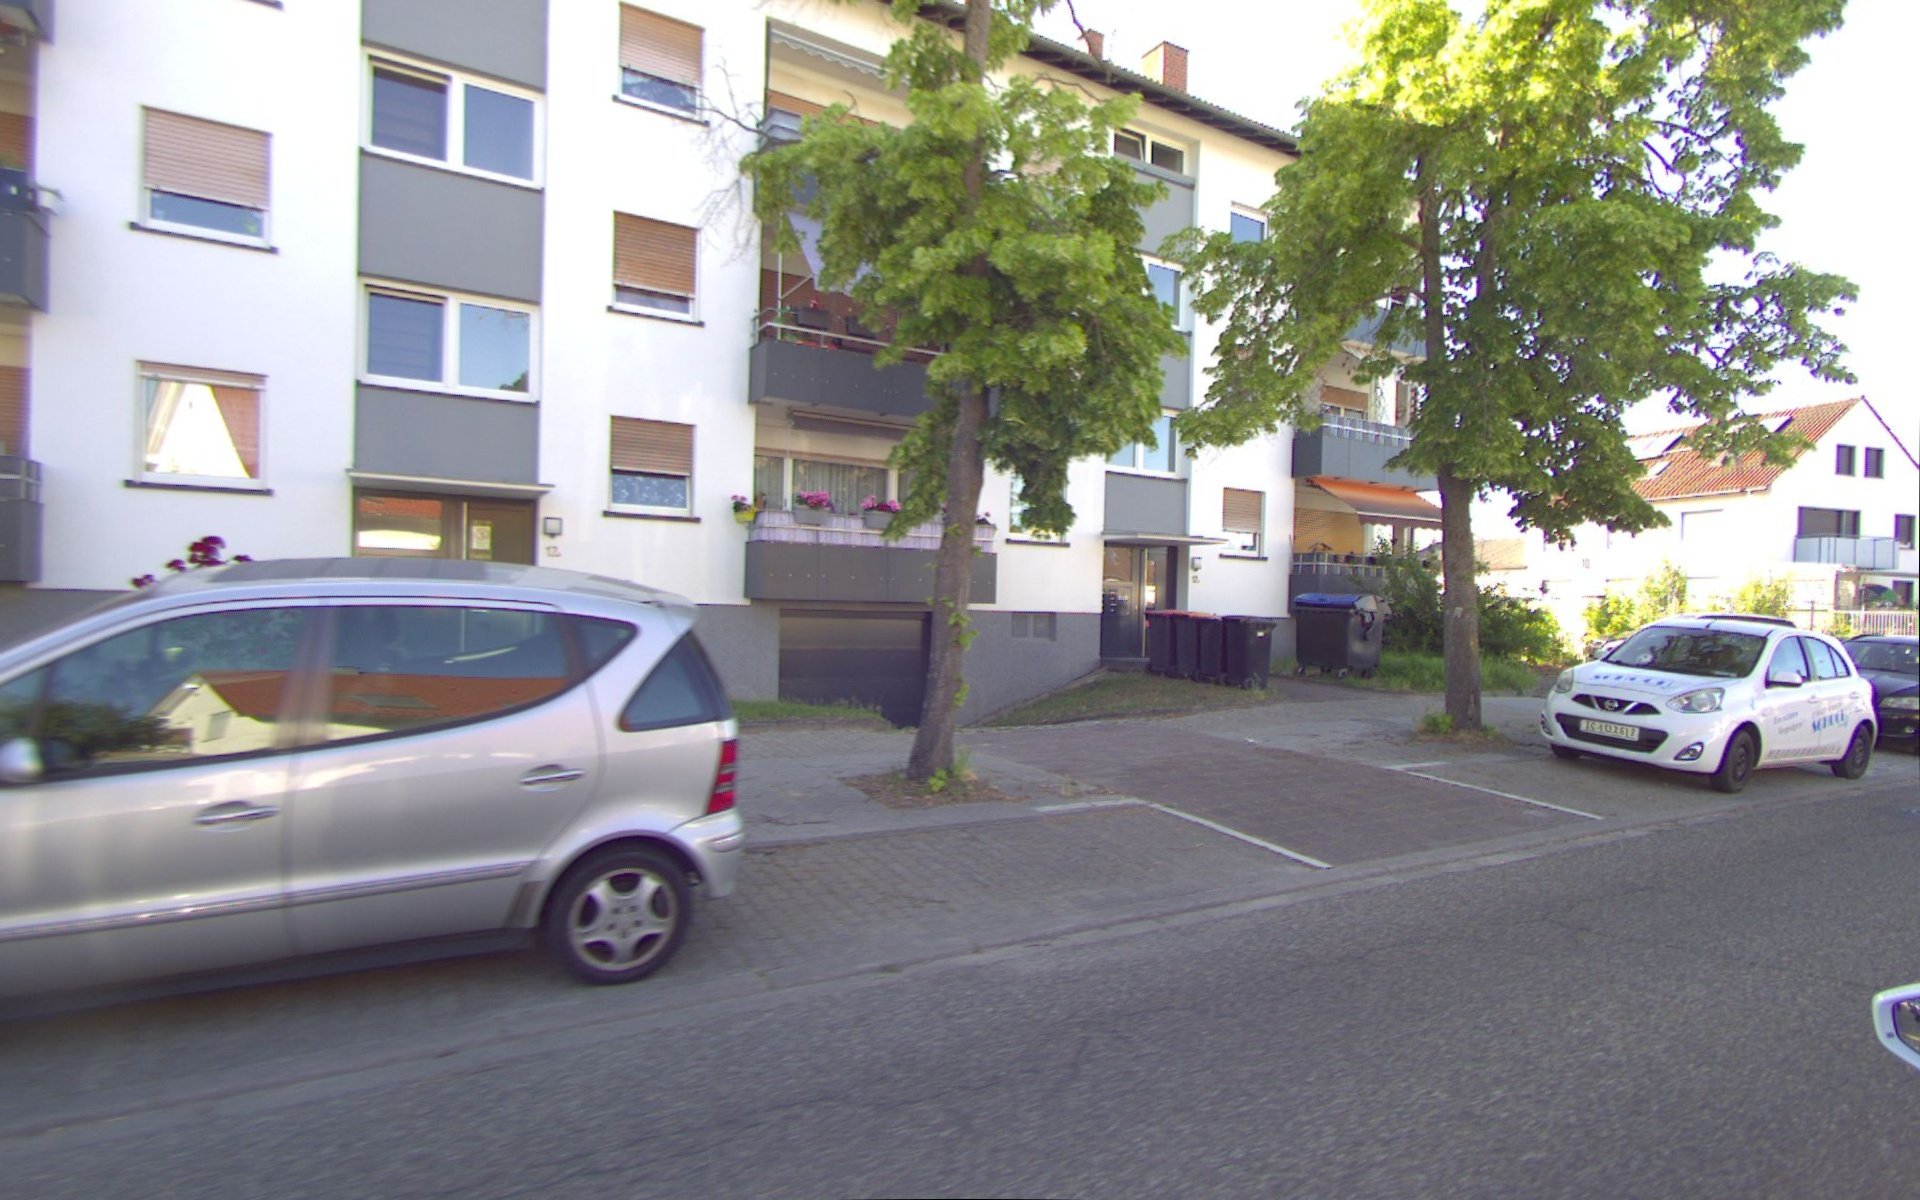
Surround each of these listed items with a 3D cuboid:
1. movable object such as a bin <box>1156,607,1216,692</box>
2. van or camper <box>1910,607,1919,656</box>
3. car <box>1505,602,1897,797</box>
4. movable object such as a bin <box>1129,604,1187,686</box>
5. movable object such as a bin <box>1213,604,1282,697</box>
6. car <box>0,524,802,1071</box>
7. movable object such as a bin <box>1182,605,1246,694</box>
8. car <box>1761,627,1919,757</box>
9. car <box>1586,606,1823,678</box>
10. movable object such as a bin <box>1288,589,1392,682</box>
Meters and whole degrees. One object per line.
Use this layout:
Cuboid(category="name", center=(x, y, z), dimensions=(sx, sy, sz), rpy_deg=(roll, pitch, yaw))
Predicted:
Cuboid(category="movable object such as a bin", center=(3.545, 0.762, 15.769), dimensions=(0.663, 1.296, 0.636), rpy_deg=(1, 0, -28))
Cuboid(category="van or camper", center=(47.996, 1.557, 46.833), dimensions=(2.208, 2.351, 4.890), rpy_deg=(2, 0, -17))
Cuboid(category="car", center=(7.626, 0.906, 10.303), dimensions=(3.858, 1.587, 1.685), rpy_deg=(1, 3, -28))
Cuboid(category="movable object such as a bin", center=(3.226, 0.729, 16.358), dimensions=(0.663, 1.296, 0.636), rpy_deg=(1, 0, -28))
Cuboid(category="movable object such as a bin", center=(4.167, 0.716, 14.560), dimensions=(0.663, 1.296, 0.684), rpy_deg=(1, 0, -28))
Cuboid(category="car", center=(-2.800, 0.590, 4.092), dimensions=(3.860, 1.614, 1.714), rpy_deg=(2, 5, -29))
Cuboid(category="movable object such as a bin", center=(3.830, 0.731, 15.154), dimensions=(0.663, 1.296, 0.636), rpy_deg=(1, 0, -28))
Cuboid(category="car", center=(12.861, 1.150, 13.720), dimensions=(4.264, 1.454, 1.601), rpy_deg=(1, 2, -31))
Cuboid(category="car", center=(17.839, 0.979, 24.257), dimensions=(4.299, 1.534, 1.615), rpy_deg=(1, 0, 10))
Cuboid(category="movable object such as a bin", center=(6.443, 0.589, 17.079), dimensions=(1.102, 1.502, 1.226), rpy_deg=(1, 0, -28))
